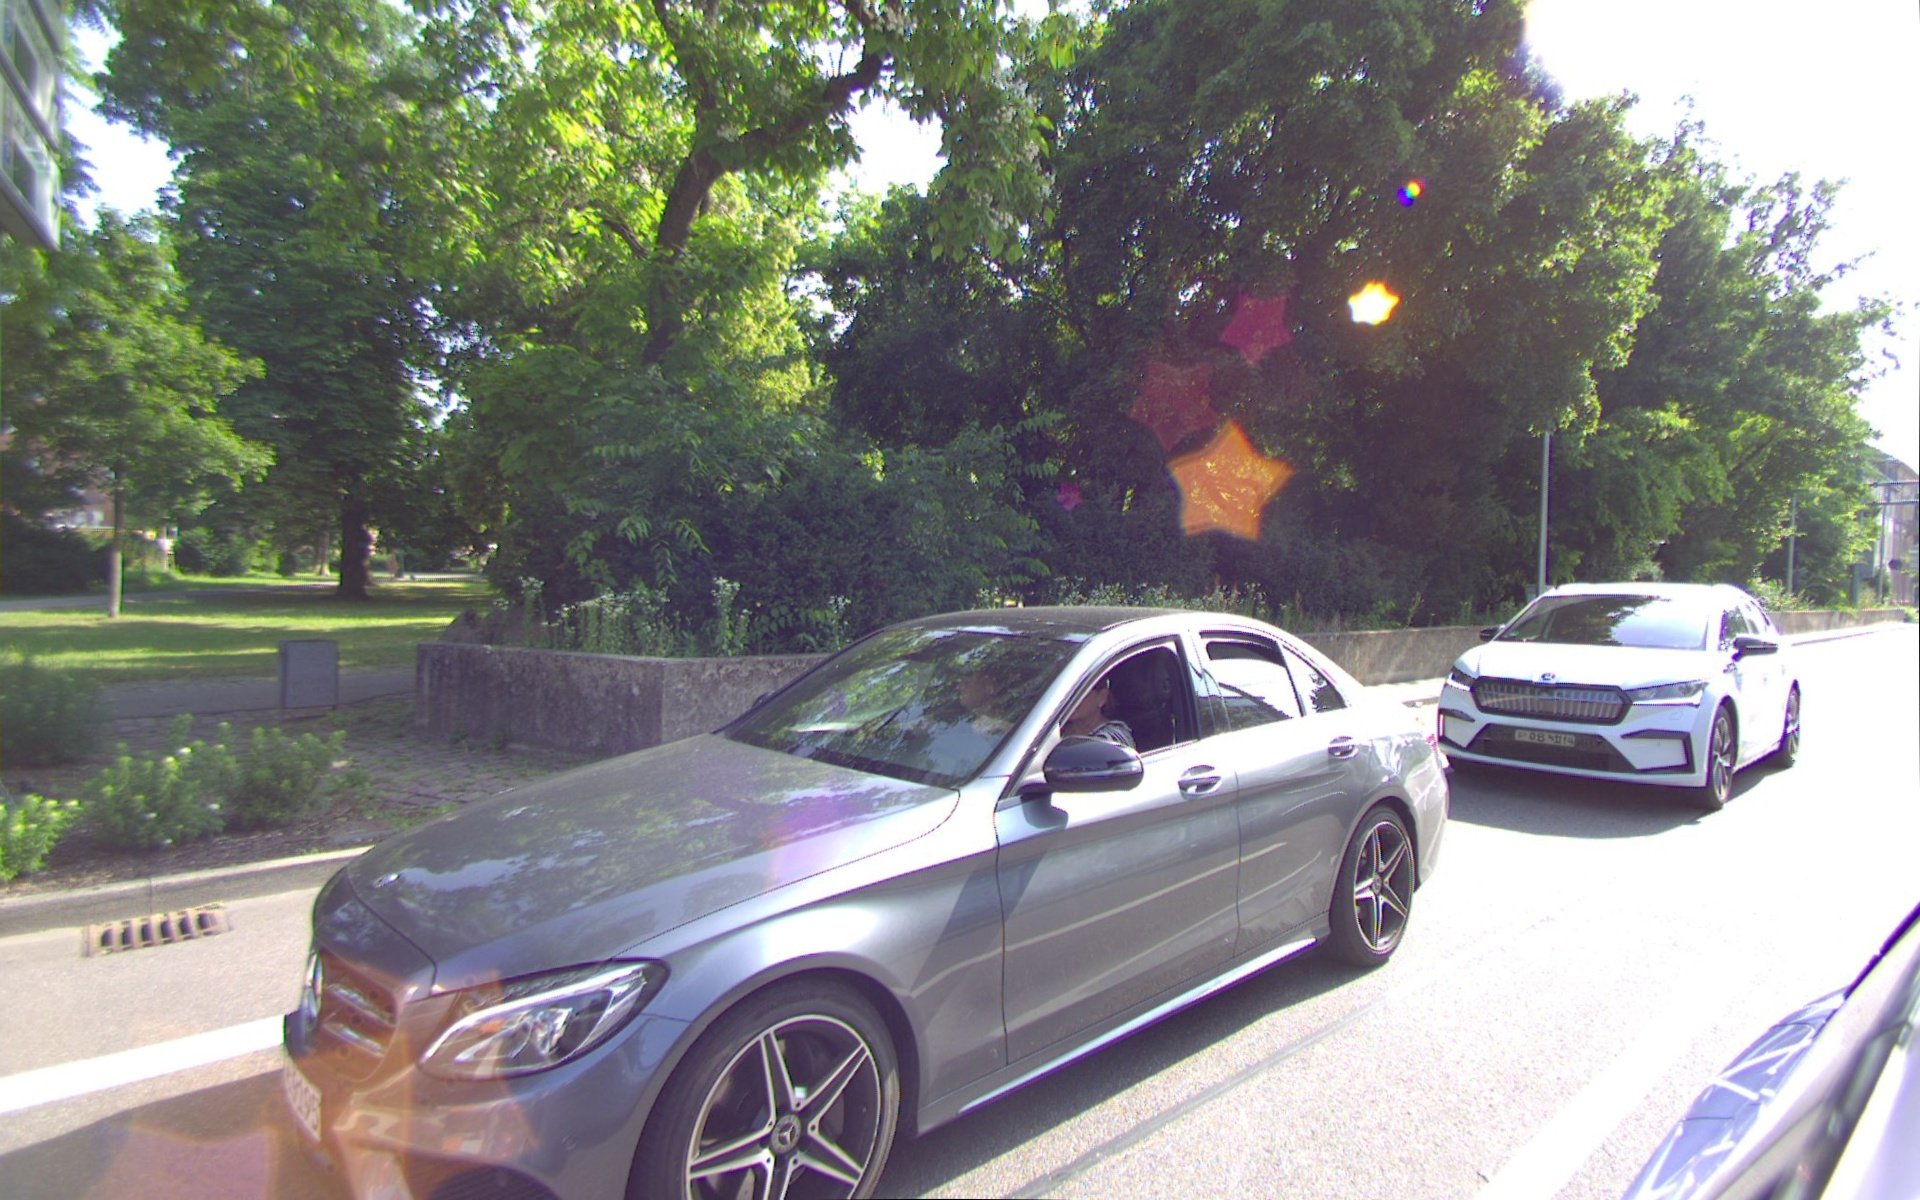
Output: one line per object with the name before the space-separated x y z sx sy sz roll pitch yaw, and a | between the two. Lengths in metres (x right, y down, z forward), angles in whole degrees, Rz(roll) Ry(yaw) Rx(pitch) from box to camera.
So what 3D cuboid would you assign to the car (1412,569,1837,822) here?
car | 5.677 0.572 8.441 4.176 1.590 1.896 0 1 -41
